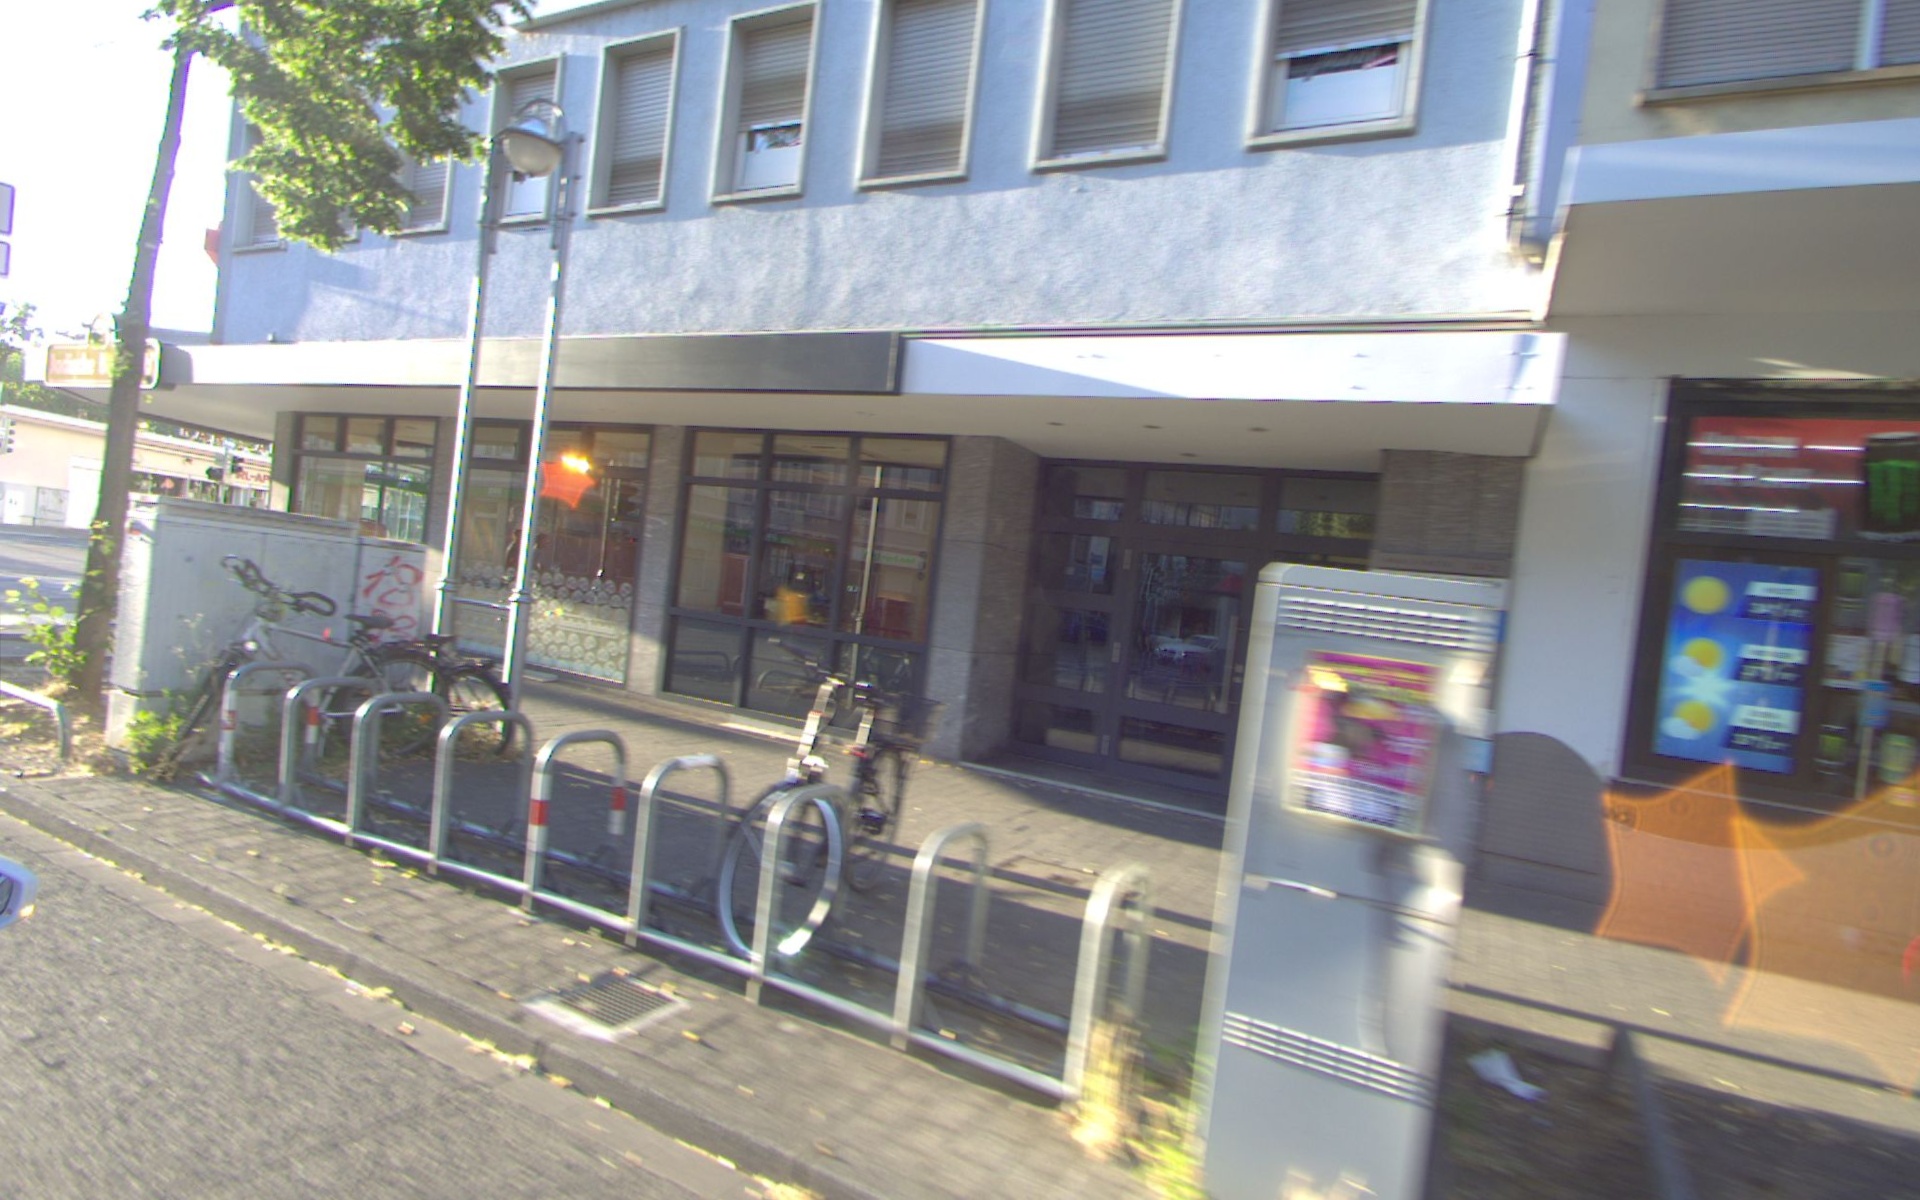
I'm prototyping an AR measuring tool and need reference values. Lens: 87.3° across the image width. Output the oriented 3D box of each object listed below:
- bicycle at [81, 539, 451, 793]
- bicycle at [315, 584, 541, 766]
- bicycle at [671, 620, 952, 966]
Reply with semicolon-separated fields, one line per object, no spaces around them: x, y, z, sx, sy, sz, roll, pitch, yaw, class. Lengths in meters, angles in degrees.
-3.869;0.368;5.785;0.469;1.209;1.661;8;0;23;bicycle
-3.762;0.494;7.084;1.640;1.024;0.403;7;3;23;bicycle
-0.566;0.740;4.523;0.484;1.209;1.663;7;0;16;bicycle
